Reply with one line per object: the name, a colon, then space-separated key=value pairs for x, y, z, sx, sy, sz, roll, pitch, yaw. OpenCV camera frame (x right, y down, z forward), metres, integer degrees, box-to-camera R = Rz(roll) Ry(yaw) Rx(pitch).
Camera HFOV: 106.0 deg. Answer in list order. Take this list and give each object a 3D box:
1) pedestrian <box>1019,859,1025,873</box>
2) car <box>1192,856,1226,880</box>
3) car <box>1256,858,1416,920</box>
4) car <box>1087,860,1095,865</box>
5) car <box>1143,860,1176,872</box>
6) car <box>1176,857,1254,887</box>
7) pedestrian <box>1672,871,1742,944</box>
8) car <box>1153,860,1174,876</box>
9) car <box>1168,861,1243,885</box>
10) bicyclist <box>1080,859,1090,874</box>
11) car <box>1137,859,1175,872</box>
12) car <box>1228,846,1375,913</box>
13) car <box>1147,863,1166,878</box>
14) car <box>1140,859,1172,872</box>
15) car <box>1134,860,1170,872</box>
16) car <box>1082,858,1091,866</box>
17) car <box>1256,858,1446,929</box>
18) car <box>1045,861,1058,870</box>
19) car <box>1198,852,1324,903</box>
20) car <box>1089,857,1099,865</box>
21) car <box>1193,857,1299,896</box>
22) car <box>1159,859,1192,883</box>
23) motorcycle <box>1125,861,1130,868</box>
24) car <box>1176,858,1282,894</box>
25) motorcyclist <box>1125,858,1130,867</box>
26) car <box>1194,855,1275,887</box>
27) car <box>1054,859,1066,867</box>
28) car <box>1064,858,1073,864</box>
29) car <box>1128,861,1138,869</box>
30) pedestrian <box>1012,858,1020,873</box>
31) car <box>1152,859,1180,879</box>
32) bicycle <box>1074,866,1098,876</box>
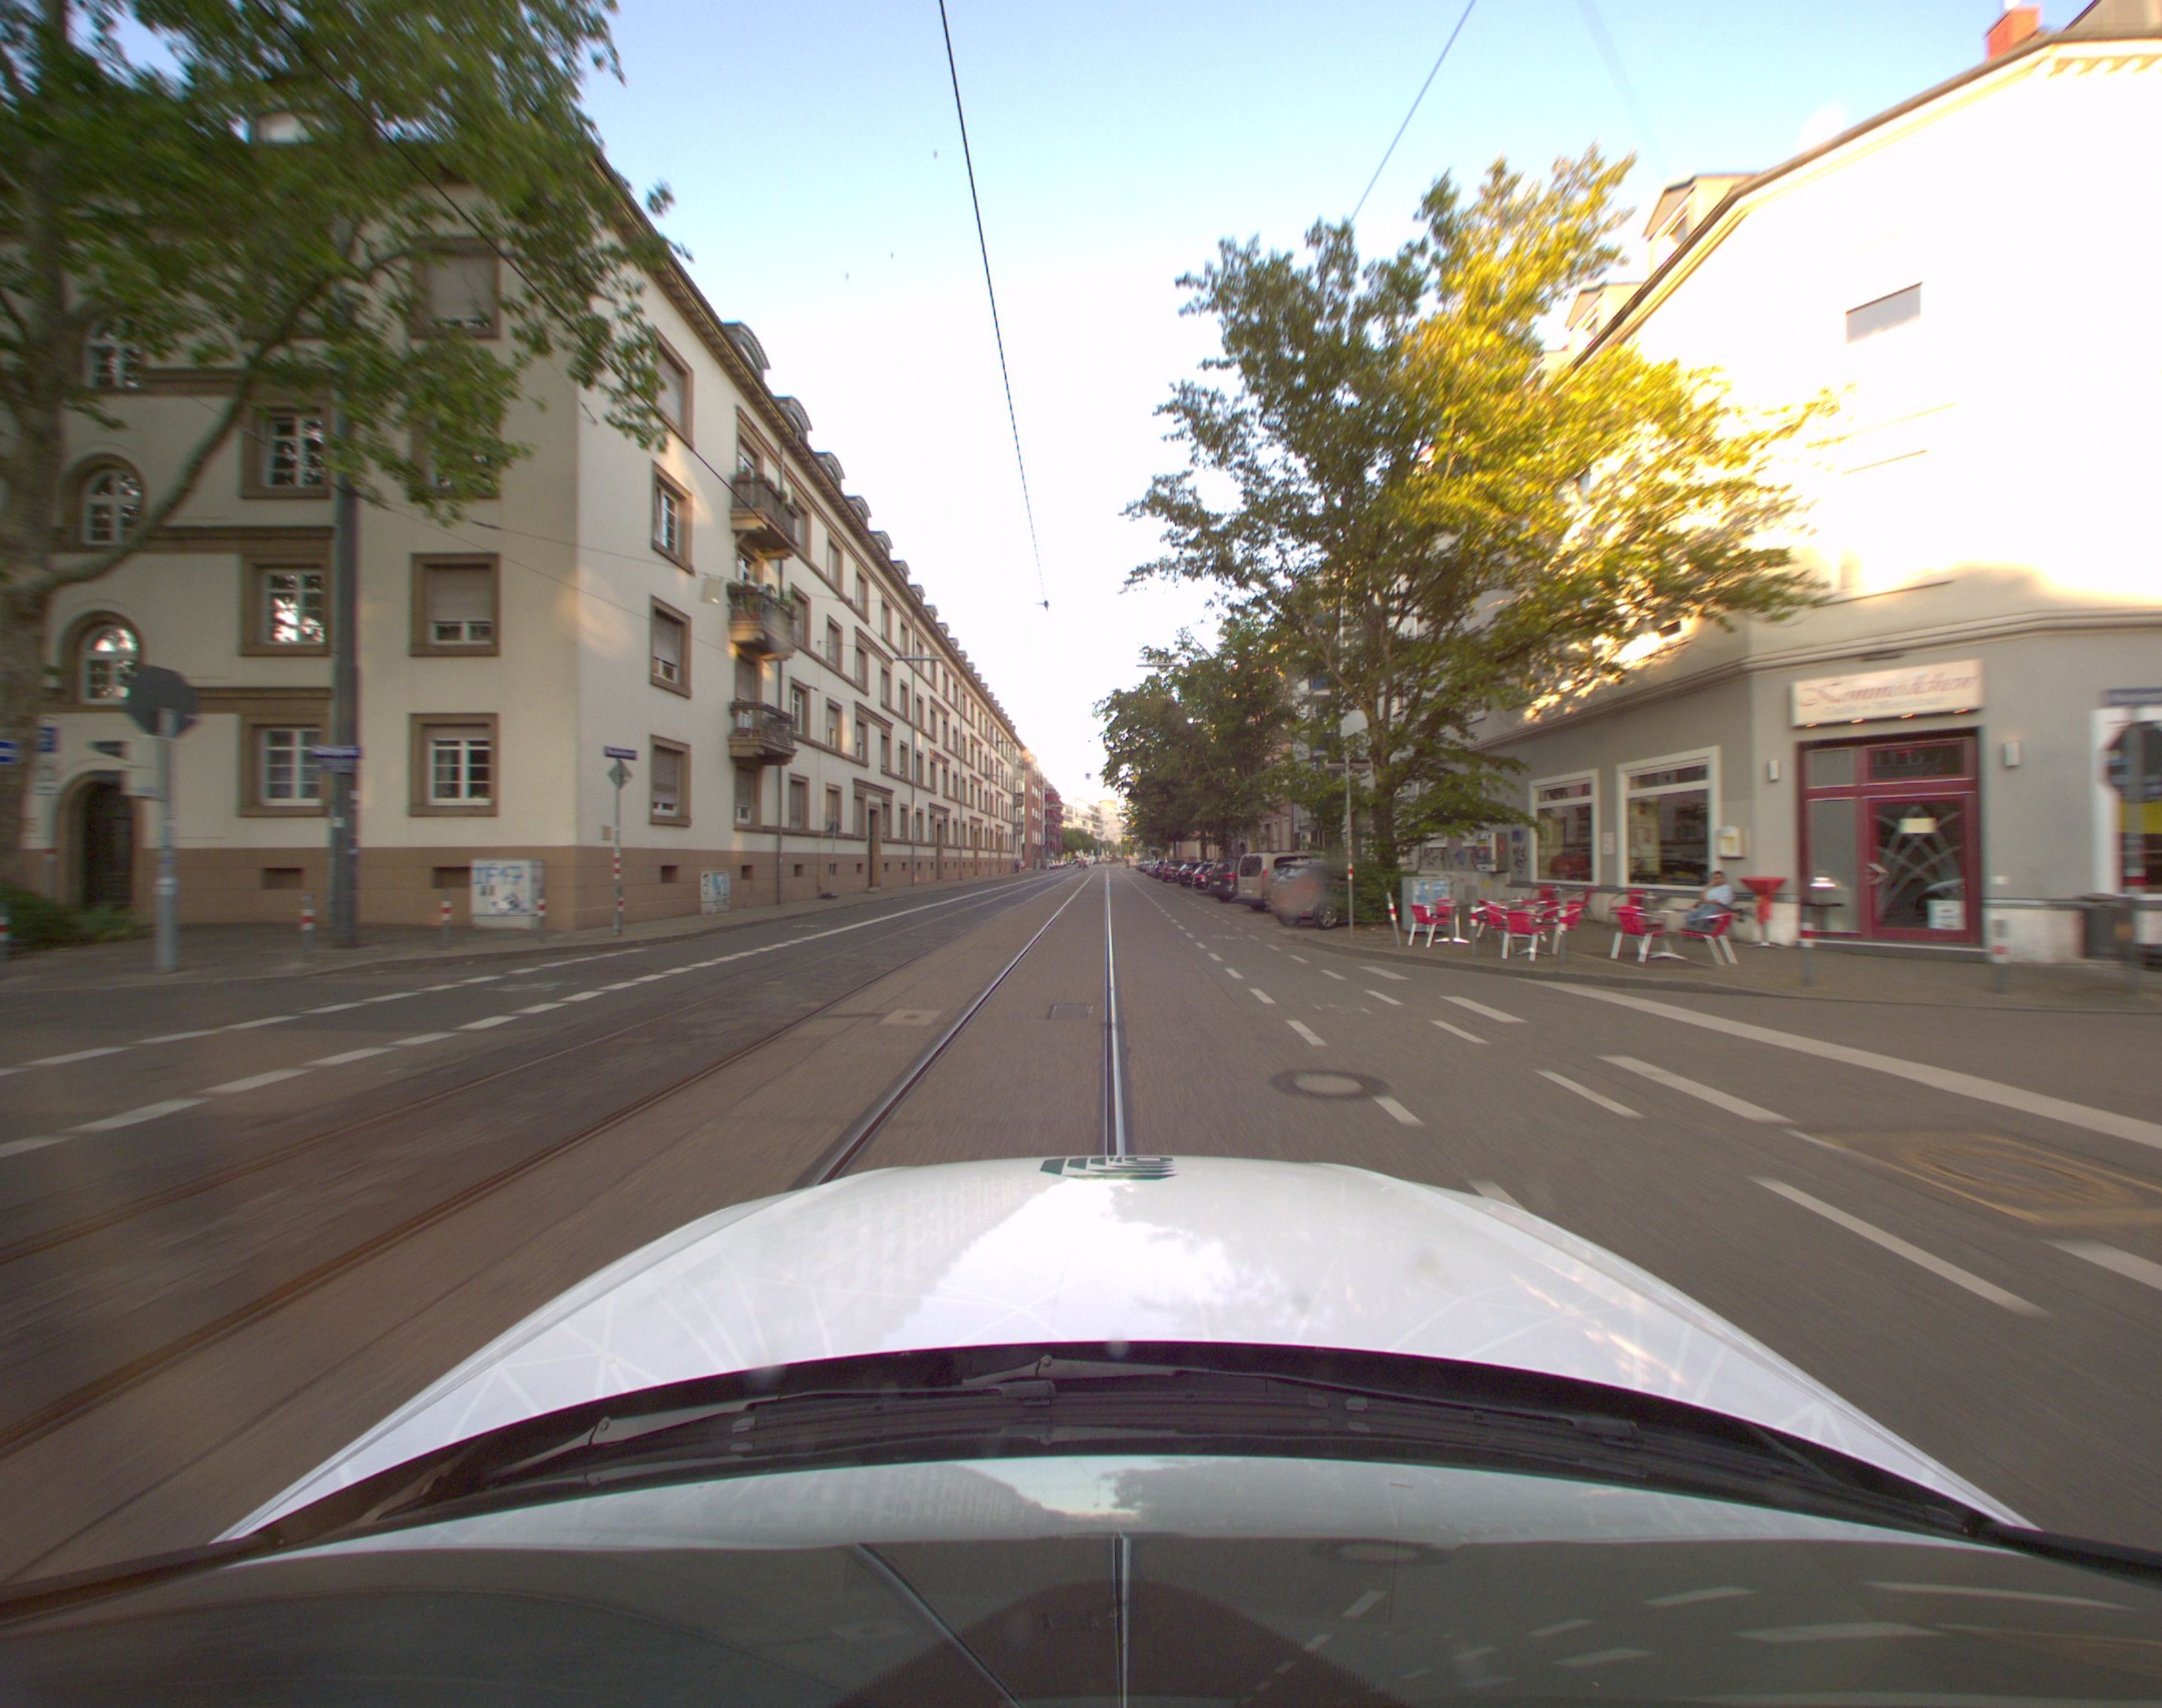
pedestrian: x=-6.447 y=1.311 z=89.457 sx=0.589 sy=1.609 sz=0.811 roll=0 pitch=-1 yaw=-1
car: x=9.047 y=0.973 z=58.021 sx=1.873 sy=1.584 sz=4.021 roll=-1 pitch=0 yaw=1
car: x=6.980 y=0.897 z=22.311 sx=4.000 sy=1.566 sz=1.708 roll=0 pitch=-1 yaw=-20
car: x=2.987 y=2.349 z=237.387 sx=1.673 sy=1.439 sz=4.136 roll=0 pitch=0 yaw=9
car: x=9.455 y=1.451 z=97.711 sx=3.571 sy=1.429 sz=1.656 roll=-1 pitch=-1 yaw=-24
car: x=7.480 y=0.985 z=45.593 sx=3.969 sy=1.553 sz=1.711 roll=-1 pitch=1 yaw=-16
pedestrian: x=10.408 y=0.873 z=13.542 sx=0.652 sy=1.155 sz=0.686 roll=0 pitch=-1 yaw=-22
car: x=7.550 y=1.267 z=74.670 sx=1.772 sy=1.381 sz=4.696 roll=-2 pitch=-1 yaw=4
car: x=7.417 y=1.113 z=48.505 sx=4.269 sy=1.388 sz=1.608 roll=0 pitch=-1 yaw=-24
bicyclist: x=0.543 y=1.696 z=112.964 sx=1.213 sy=2.014 sz=0.945 roll=0 pitch=-1 yaw=-7
car: x=9.747 y=1.466 z=105.551 sx=4.461 sy=1.516 sz=2.048 roll=-1 pitch=0 yaw=-22
car: x=6.708 y=0.718 z=24.874 sx=4.000 sy=1.816 sz=1.812 roll=-2 pitch=0 yaw=-20
car: x=7.398 y=1.571 z=80.348 sx=1.613 sy=1.381 sz=3.777 roll=-2 pitch=-1 yaw=2
car: x=9.246 y=1.443 z=100.392 sx=3.571 sy=1.516 sz=1.730 roll=-1 pitch=-1 yaw=-24
car: x=9.770 y=1.598 z=111.516 sx=4.624 sy=1.457 sz=1.697 roll=-2 pitch=0 yaw=-23
car: x=1.000 y=1.562 z=155.139 sx=1.554 sy=1.558 sz=3.753 roll=-2 pitch=0 yaw=-1
car: x=6.364 y=0.882 z=19.275 sx=3.997 sy=1.540 sz=1.769 roll=0 pitch=-1 yaw=-18
car: x=-4.896 y=1.897 z=135.039 sx=1.710 sy=1.556 sz=4.206 roll=1 pitch=-1 yaw=2
car: x=6.640 y=0.826 z=30.039 sx=4.192 sy=1.696 sz=1.835 roll=-1 pitch=0 yaw=-19
car: x=3.867 y=2.019 z=242.938 sx=2.449 sy=2.482 sz=5.817 roll=0 pitch=0 yaw=5
car: x=6.898 y=0.923 z=34.108 sx=3.995 sy=1.464 sz=1.710 roll=-1 pitch=0 yaw=-16
car: x=6.701 y=1.180 z=57.862 sx=1.873 sy=1.618 sz=4.263 roll=-3 pitch=-1 yaw=1
motorcycle: x=8.171 y=1.803 z=142.780 sx=0.824 sy=1.240 sz=2.495 roll=0 pitch=0 yaw=6
car: x=6.606 y=0.940 z=36.427 sx=4.386 sy=1.464 sz=1.710 roll=-1 pitch=0 yaw=-16
motorcyclist: x=8.165 y=1.451 z=142.770 sx=0.824 sy=1.473 sz=1.209 roll=0 pitch=-1 yaw=5
car: x=8.268 y=0.889 z=43.831 sx=4.000 sy=1.593 sz=1.708 roll=-1 pitch=1 yaw=-20
car: x=-3.976 y=1.720 z=154.855 sx=1.684 sy=1.414 sz=4.682 roll=2 pitch=-1 yaw=4
car: x=-3.595 y=2.055 z=234.978 sx=1.672 sy=1.700 sz=4.251 roll=0 pitch=0 yaw=11
car: x=9.888 y=2.045 z=154.989 sx=1.709 sy=1.555 sz=4.207 roll=0 pitch=0 yaw=3
pedestrian: x=-7.137 y=1.253 z=89.616 sx=0.793 sy=1.701 sz=0.981 roll=0 pitch=-1 yaw=-1
car: x=6.953 y=1.210 z=67.168 sx=1.986 sy=1.489 sz=5.038 roll=-1 pitch=-1 yaw=2
bicycle: x=0.698 y=2.406 z=112.974 sx=3.167 sy=1.354 sz=0.955 roll=-1 pitch=-1 yaw=-7
